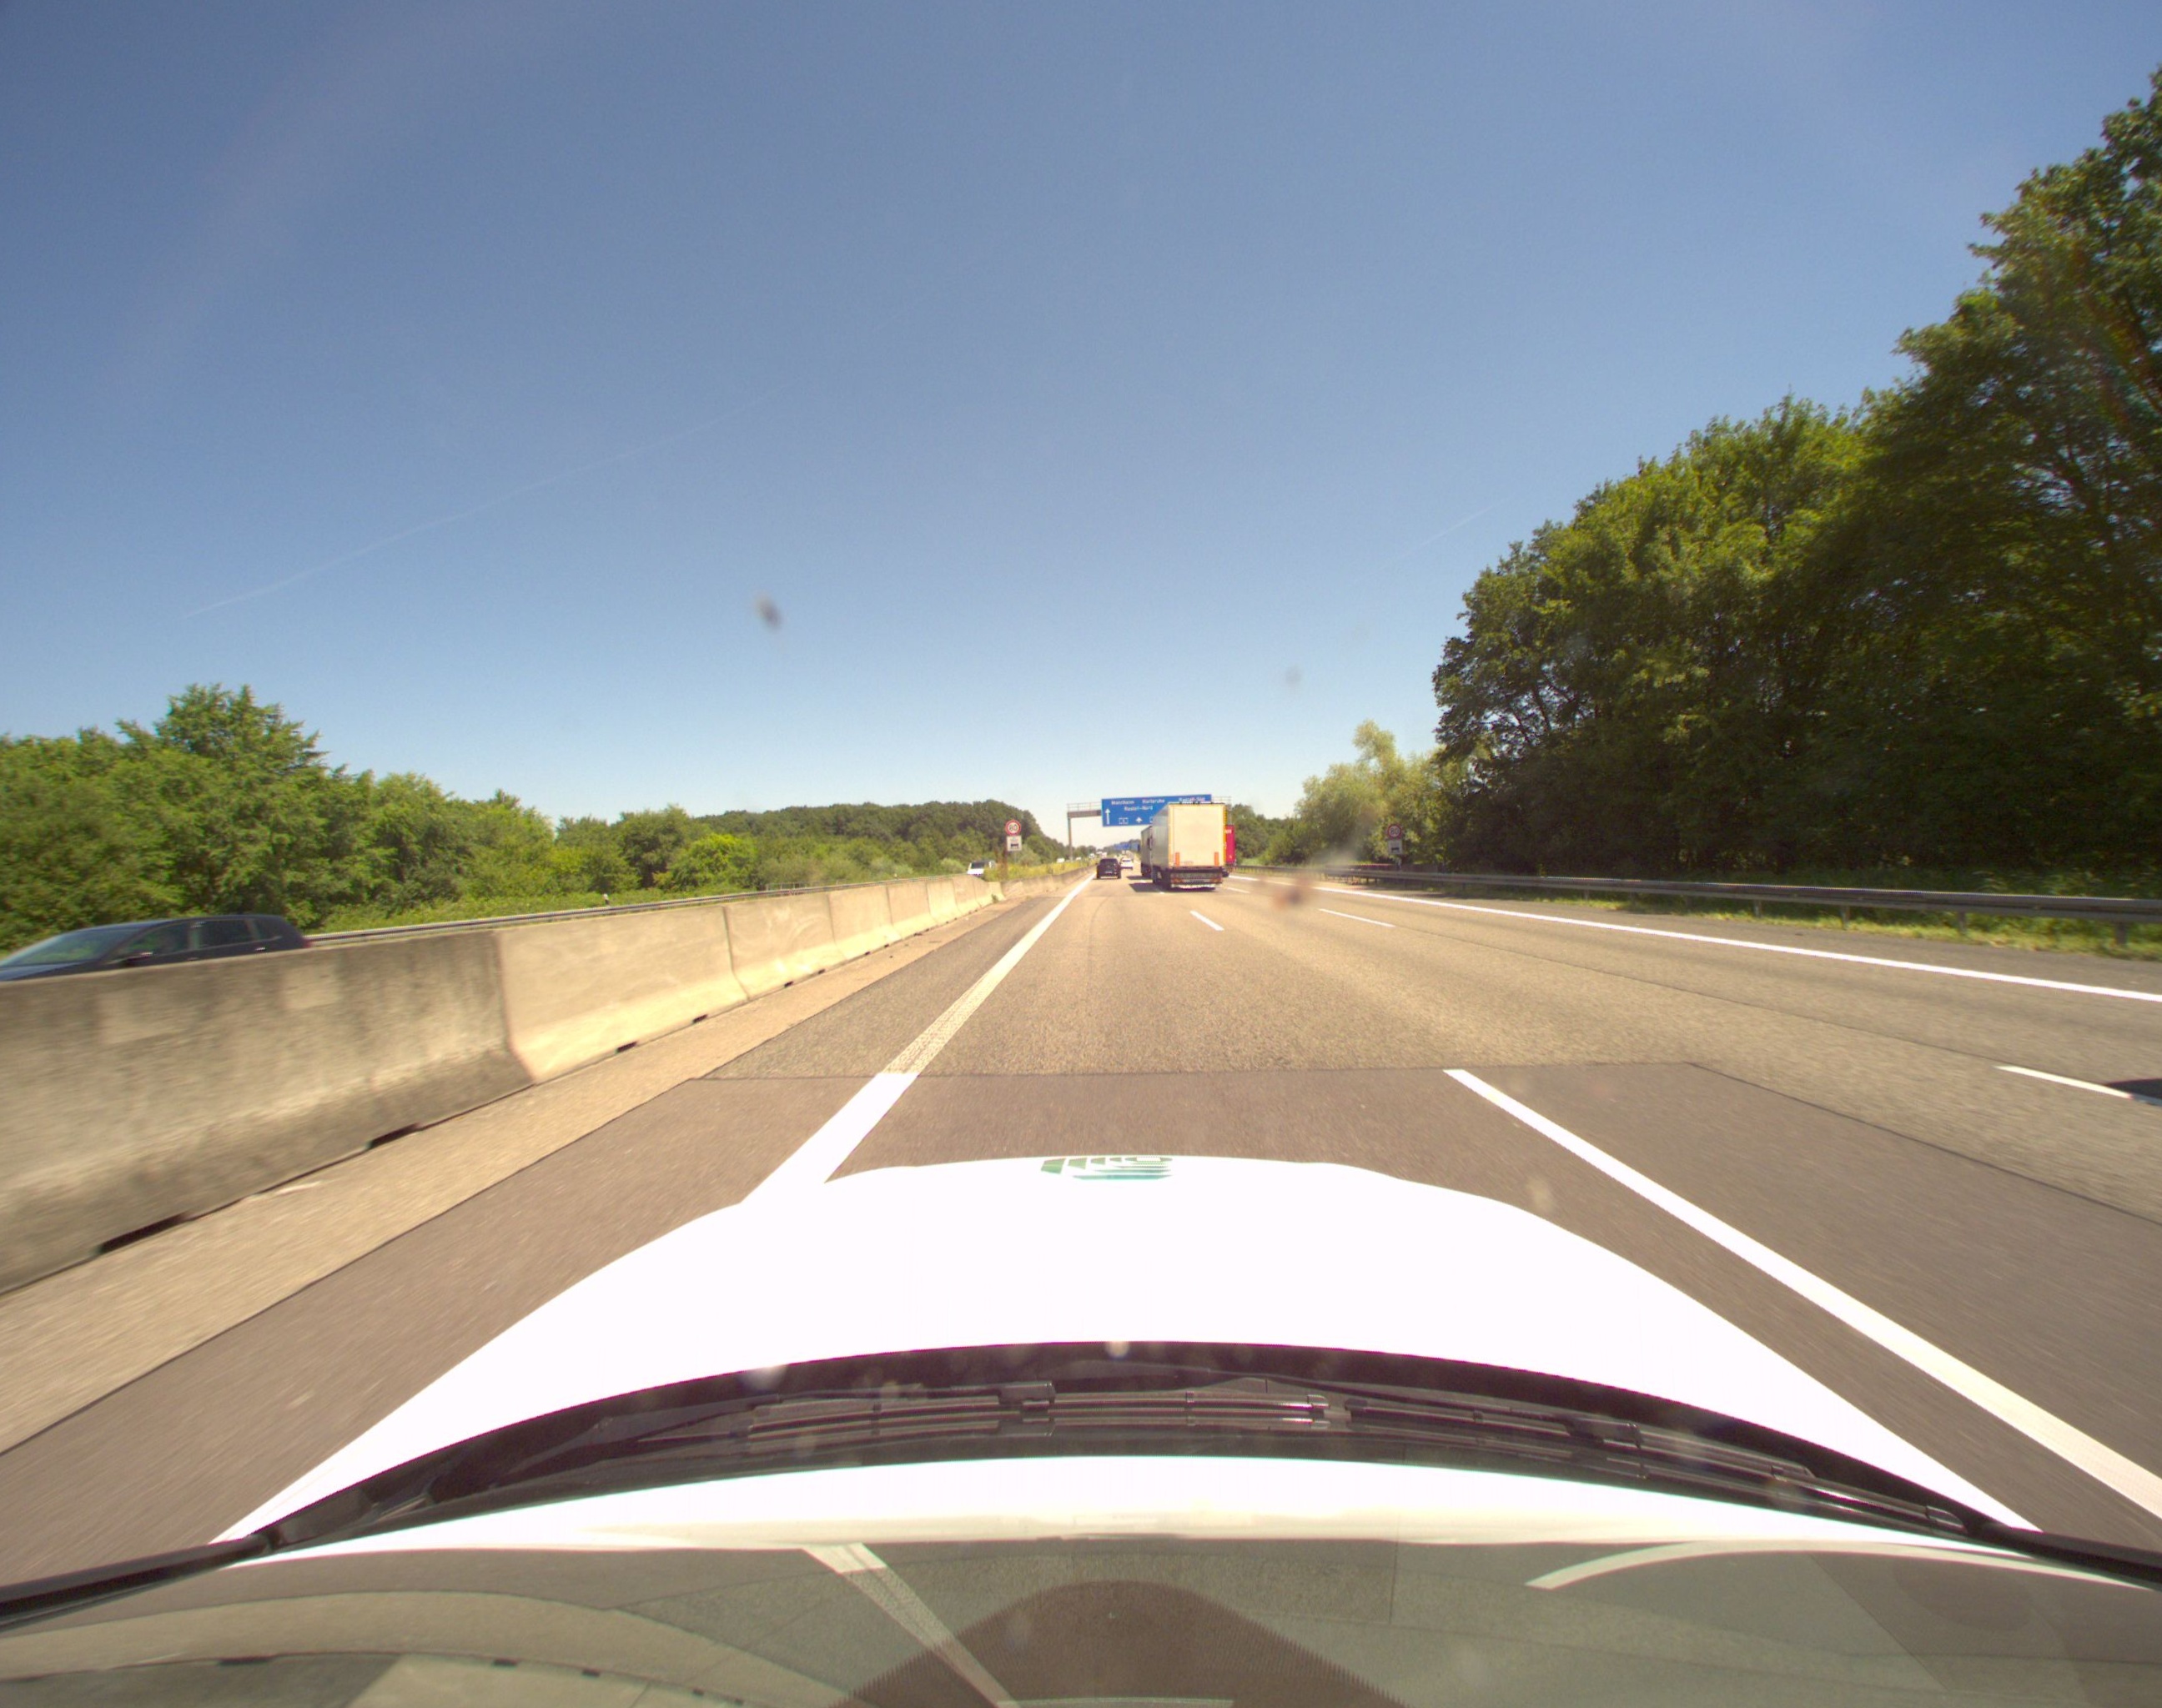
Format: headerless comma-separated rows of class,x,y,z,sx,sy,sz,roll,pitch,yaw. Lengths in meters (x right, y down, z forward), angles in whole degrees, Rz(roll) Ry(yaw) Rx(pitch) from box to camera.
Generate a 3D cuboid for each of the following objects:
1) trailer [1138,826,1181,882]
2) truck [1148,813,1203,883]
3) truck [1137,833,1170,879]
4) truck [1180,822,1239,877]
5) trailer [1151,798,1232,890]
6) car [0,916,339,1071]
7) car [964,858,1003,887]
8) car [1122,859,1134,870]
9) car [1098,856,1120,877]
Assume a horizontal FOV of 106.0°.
trailer,6.315,0.090,67.244,2.697,4.068,14.754,-1,-1,3
truck,5.704,-0.334,50.142,2.789,4.007,6.023,-1,0,2
truck,6.732,0.206,76.471,2.690,4.094,6.457,-1,-1,2
truck,10.603,-0.287,68.768,3.044,4.106,13.220,-1,0,1
trailer,5.440,-0.404,42.365,2.784,4.035,12.572,-1,0,2
car,-12.993,1.770,11.198,1.763,1.471,4.001,-3,-1,2
car,-7.601,1.382,64.273,1.986,2.013,6.225,-4,0,2
car,6.658,1.447,115.871,1.733,1.486,4.003,-2,0,3
car,2.237,1.009,66.059,1.654,1.549,3.784,-3,0,1
